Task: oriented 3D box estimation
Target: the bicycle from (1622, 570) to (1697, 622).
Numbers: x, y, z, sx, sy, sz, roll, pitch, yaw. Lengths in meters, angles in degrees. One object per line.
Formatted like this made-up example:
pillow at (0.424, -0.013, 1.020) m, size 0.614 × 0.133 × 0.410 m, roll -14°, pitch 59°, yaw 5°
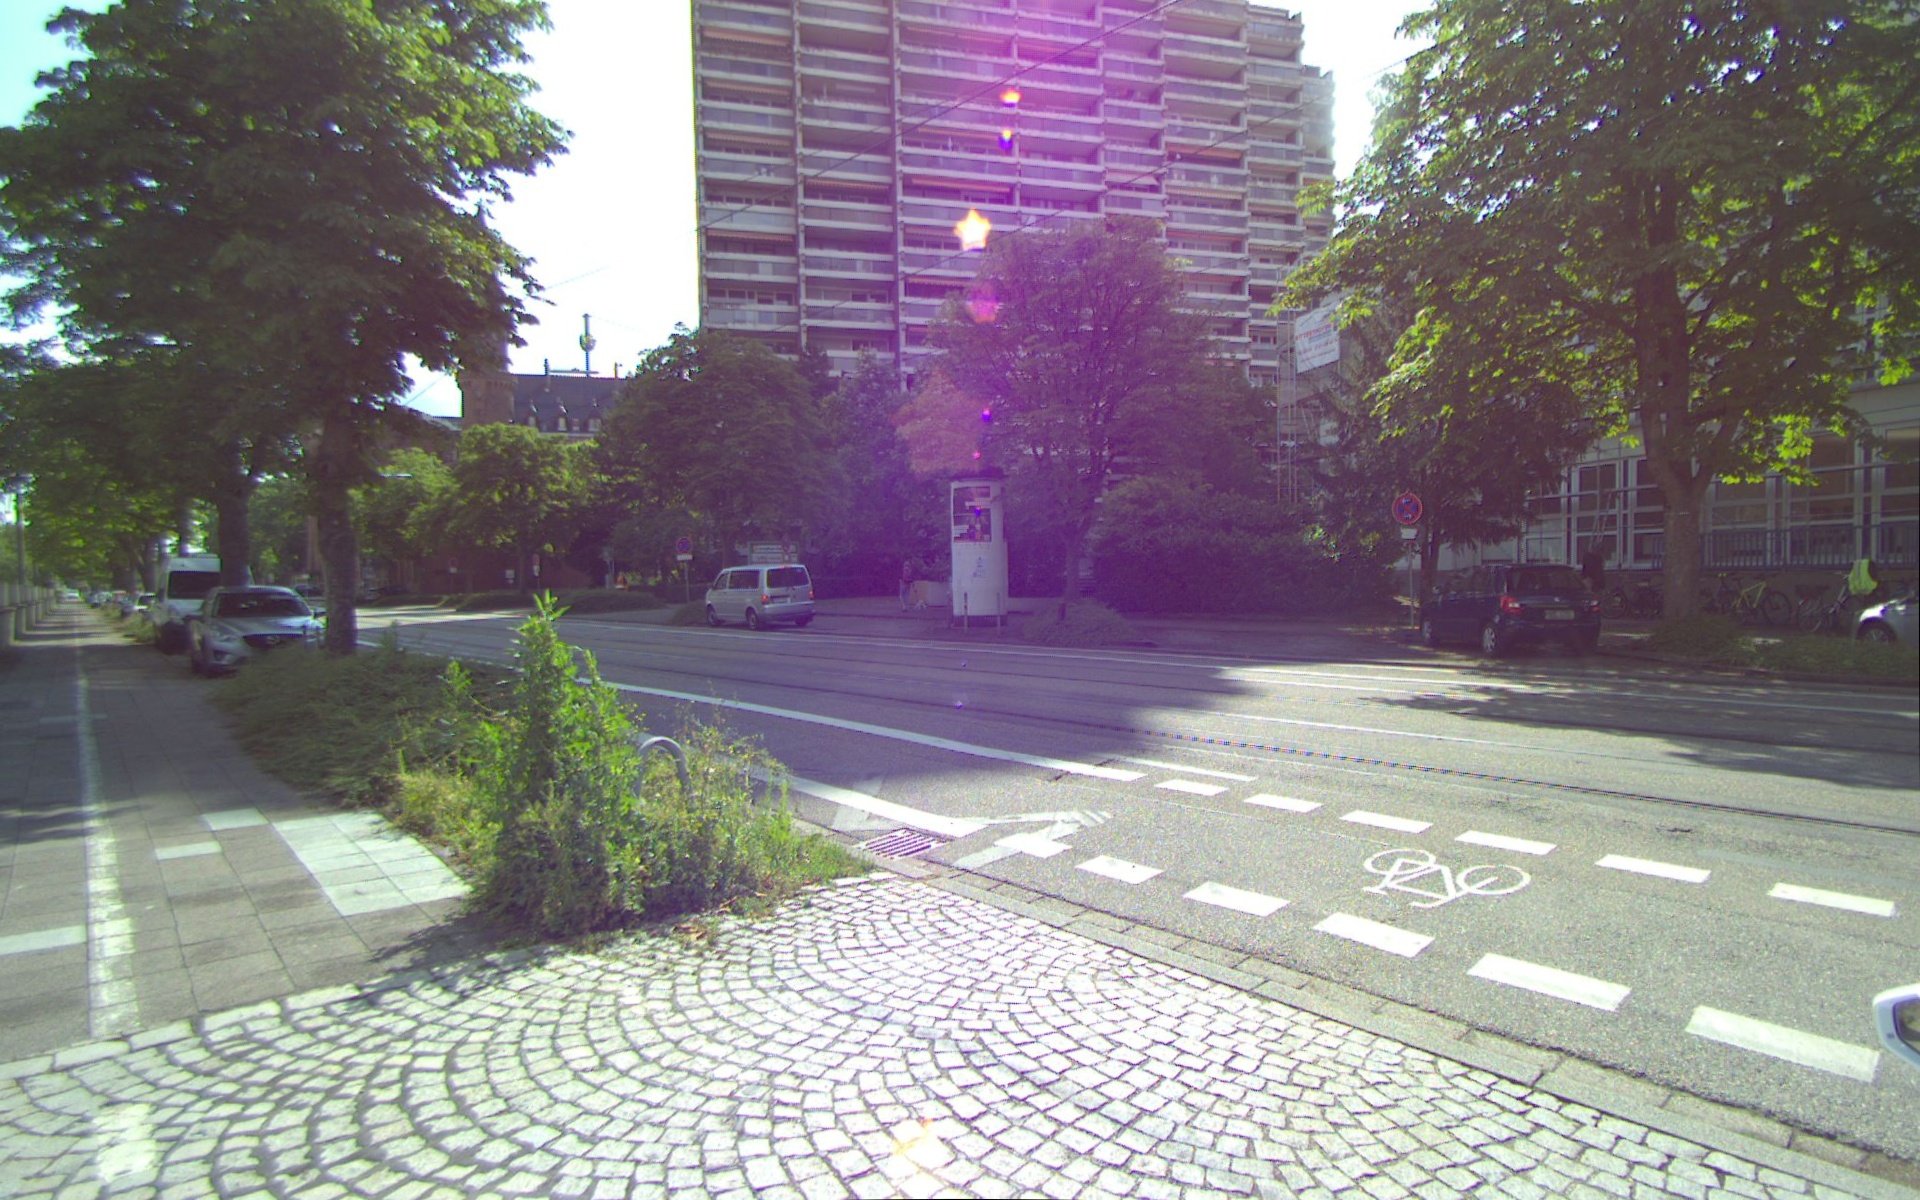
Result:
bicycle at (15.847, -0.087, 22.749) m, size 1.555 × 1.107 × 0.540 m, roll -2°, pitch 0°, yaw -18°

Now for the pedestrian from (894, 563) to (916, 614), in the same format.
pedestrian at (-1.962, -0.422, 35.683) m, size 0.519 × 1.778 × 0.629 m, roll -4°, pitch 6°, yaw -34°

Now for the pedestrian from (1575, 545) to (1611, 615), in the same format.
pedestrian at (15.400, -0.495, 24.445) m, size 0.652 × 1.646 × 0.639 m, roll 2°, pitch 4°, yaw 40°

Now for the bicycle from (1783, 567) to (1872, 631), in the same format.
bicycle at (16.640, -0.018, 19.265) m, size 1.555 × 1.177 × 0.540 m, roll -2°, pitch 0°, yaw -18°

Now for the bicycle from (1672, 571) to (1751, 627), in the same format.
bicycle at (16.072, -0.026, 21.478) m, size 1.555 × 1.128 × 0.540 m, roll -2°, pitch 0°, yaw -18°

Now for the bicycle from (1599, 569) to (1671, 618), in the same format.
bicycle at (15.937, -0.151, 23.711) m, size 1.555 × 1.095 × 0.540 m, roll -2°, pitch 0°, yaw -18°

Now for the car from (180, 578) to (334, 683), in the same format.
car at (-13.239, 0.468, 18.821) m, size 1.738 × 1.628 × 4.183 m, roll -6°, pitch 5°, yaw -42°

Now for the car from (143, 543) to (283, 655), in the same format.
car at (-20.077, -0.103, 26.888) m, size 2.321 × 2.595 × 5.323 m, roll -6°, pitch 5°, yaw -42°

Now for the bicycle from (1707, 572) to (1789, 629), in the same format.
bicycle at (16.303, 0.009, 20.774) m, size 1.555 × 1.136 × 0.540 m, roll -2°, pitch 0°, yaw -18°

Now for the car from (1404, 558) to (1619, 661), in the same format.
car at (9.305, 0.097, 17.323) m, size 1.707 × 1.544 × 3.885 m, roll -1°, pitch 2°, yaw 2°

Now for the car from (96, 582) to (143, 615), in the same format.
car at (-47.365, -0.123, 56.561) m, size 1.738 × 1.628 × 4.183 m, roll -6°, pitch 5°, yaw -42°

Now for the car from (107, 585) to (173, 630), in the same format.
car at (-33.417, 0.249, 40.909) m, size 1.738 × 1.628 × 4.183 m, roll -6°, pitch 5°, yaw -42°

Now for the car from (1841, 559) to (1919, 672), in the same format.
car at (13.752, 0.208, 12.633) m, size 1.786 × 1.521 × 4.193 m, roll -1°, pitch 1°, yaw 3°

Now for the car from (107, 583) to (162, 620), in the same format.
car at (-40.156, 0.038, 48.817) m, size 1.738 × 1.628 × 4.183 m, roll -6°, pitch 5°, yaw -42°

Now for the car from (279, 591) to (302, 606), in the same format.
car at (-76.258, -0.206, 114.386) m, size 1.617 × 1.595 × 3.904 m, roll 2°, pitch 0°, yaw -41°

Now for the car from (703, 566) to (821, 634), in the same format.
car at (-6.323, -0.062, 31.812) m, size 1.876 × 1.876 × 4.189 m, roll -6°, pitch 5°, yaw -38°

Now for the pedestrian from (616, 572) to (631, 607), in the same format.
pedestrian at (-17.389, -0.550, 51.943) m, size 0.526 × 1.778 × 0.460 m, roll 4°, pitch 7°, yaw 42°
